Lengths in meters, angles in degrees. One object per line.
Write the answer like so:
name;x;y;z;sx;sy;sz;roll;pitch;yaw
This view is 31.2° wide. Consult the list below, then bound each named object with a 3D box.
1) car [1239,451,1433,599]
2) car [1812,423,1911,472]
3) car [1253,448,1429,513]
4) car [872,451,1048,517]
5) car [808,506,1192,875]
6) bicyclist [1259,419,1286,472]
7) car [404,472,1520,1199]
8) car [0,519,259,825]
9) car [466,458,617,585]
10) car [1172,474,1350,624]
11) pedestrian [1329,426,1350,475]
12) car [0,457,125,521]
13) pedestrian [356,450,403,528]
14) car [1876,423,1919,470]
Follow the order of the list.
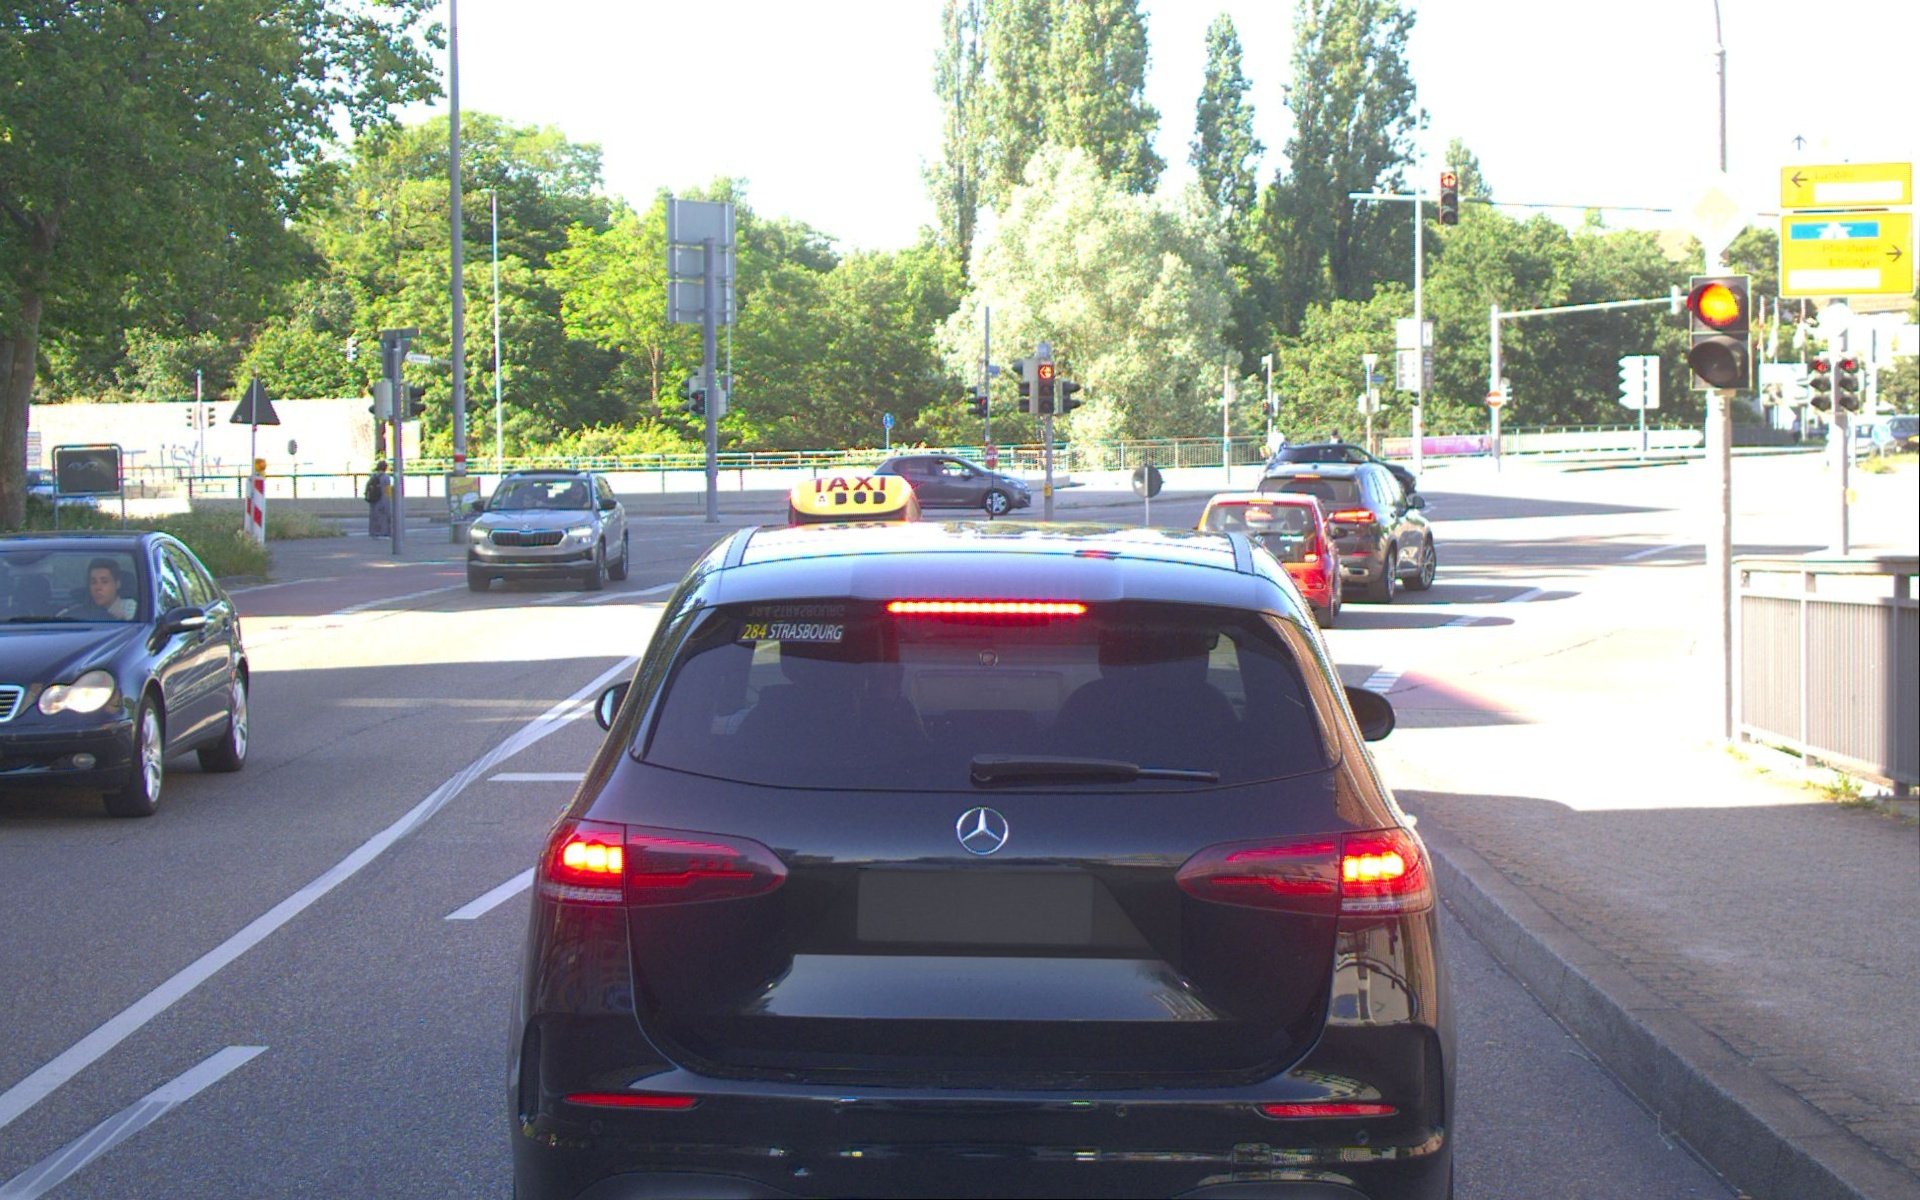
car;4.983;-1.021;45.055;1.723;1.805;4.294;0;3;17
car;30.070;-5.105;114.657;1.882;1.573;3.992;1;3;36
car;9.618;-3.004;86.836;3.986;1.542;1.891;1;1;-19
car;0.021;-2.722;80.839;3.987;1.492;1.744;0;1;5
car;0.224;0.350;16.720;1.640;1.524;3.474;-1;2;2
bicyclist;9.286;-4.598;102.043;0.526;1.545;0.806;-1;2;25
car;-0.023;0.544;7.834;1.878;1.608;4.000;1;2;-1
car;-4.993;0.308;18.645;1.741;1.402;4.202;-1;2;-4
car;-5.777;-1.125;47.788;1.804;1.617;4.001;0;3;-3
car;3.489;-0.625;39.418;1.722;1.516;3.485;0;4;10
pedestrian;12.231;-4.815;110.866;0.451;1.580;0.500;1;3;40
car;-23.914;-2.884;89.332;3.992;1.624;1.888;1;2;26
pedestrian;-11.476;-2.198;67.983;0.705;1.520;0.743;1;2;10
car;33.560;-5.370;119.811;1.882;1.573;3.992;1;3;36
